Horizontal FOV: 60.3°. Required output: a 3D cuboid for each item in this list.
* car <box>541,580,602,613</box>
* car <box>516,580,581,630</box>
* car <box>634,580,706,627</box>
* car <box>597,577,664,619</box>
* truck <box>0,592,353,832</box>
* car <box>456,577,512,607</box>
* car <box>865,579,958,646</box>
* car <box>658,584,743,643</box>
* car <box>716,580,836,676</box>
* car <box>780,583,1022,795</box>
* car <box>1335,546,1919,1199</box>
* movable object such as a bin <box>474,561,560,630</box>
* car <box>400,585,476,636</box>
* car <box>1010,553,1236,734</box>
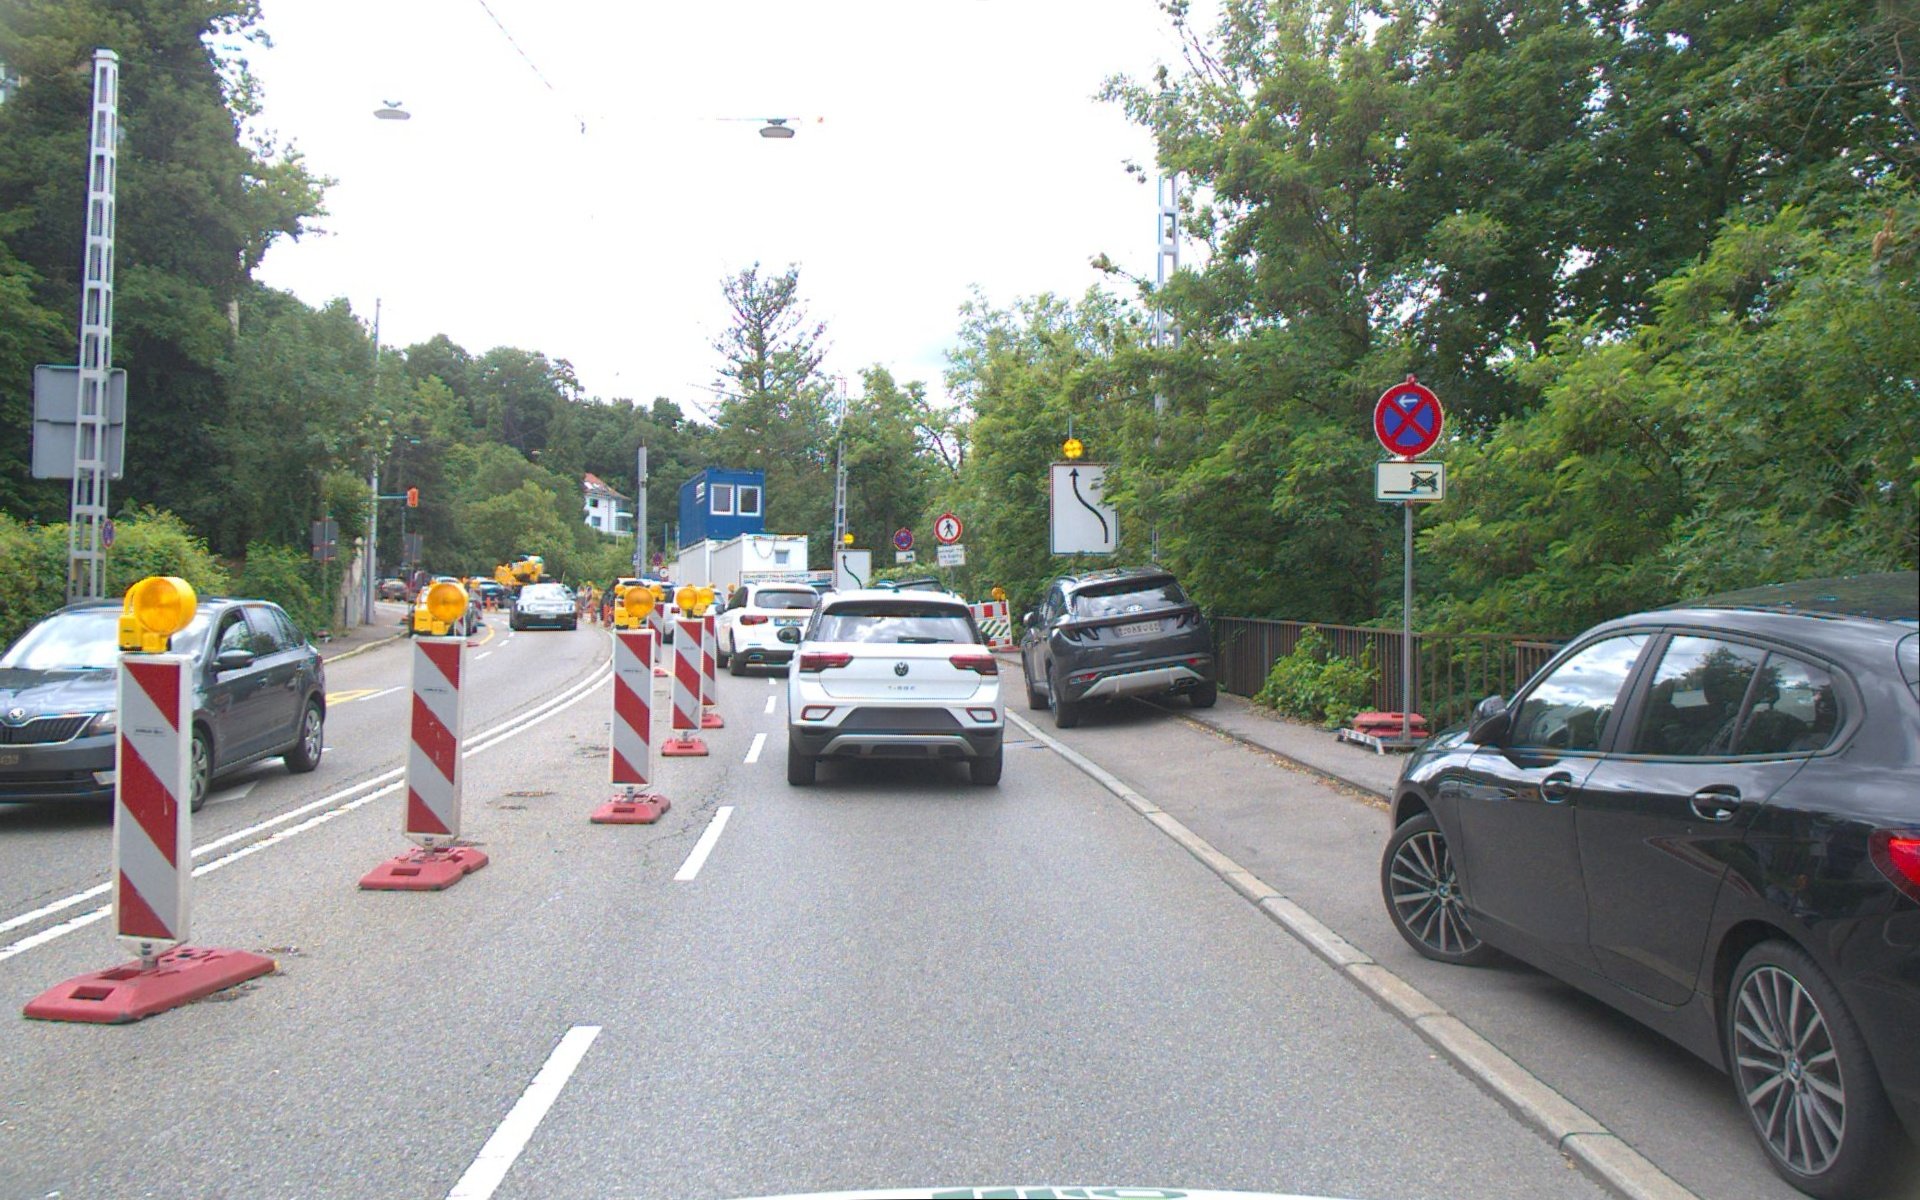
[{"bbox_3d":[-18.271,-0.134,77.638,1.968,1.475,4.117,-1,0,-25],"label":"car"},{"bbox_3d":[-13.237,0.140,53.021,1.865,1.520,3.982,-1,1,-16],"label":"car"},{"bbox_3d":[-9.630,0.134,54.786,1.961,1.439,4.133,-1,-1,-15],"label":"car"},{"bbox_3d":[-12.882,-0.106,64.511,1.964,1.583,4.127,-1,1,-20],"label":"car"},{"bbox_3d":[-6.015,0.697,12.364,1.629,1.468,4.024,-1,1,-3],"label":"truck"},{"bbox_3d":[-25.241,-0.422,87.617,1.972,1.475,4.109,-1,0,-29],"label":"car"},{"bbox_3d":[-1.263,0.293,41.784,1.685,1.544,3.649,-3,1,-12],"label":"car"},{"bbox_3d":[-6.964,0.339,44.176,1.730,1.497,3.777,0,0,-17],"label":"car"},{"bbox_3d":[-3.450,0.468,30.472,1.728,1.637,3.782,0,0,-14],"label":"car"},{"bbox_3d":[-0.640,0.654,14.339,1.725,1.583,3.789,0,0,-8],"label":"car"},{"bbox_3d":[2.807,0.635,5.542,1.773,1.488,4.190,-6,1,-4],"label":"car"},{"bbox_3d":[-25.284,-0.278,94.191,3.487,3.764,7.435,-1,1,-25],"label":"movable object such as a bin"},{"bbox_3d":[-15.255,0.277,48.521,1.864,1.406,3.985,-1,1,-14],"label":"car"},{"bbox_3d":[1.813,0.442,19.757,1.815,1.685,4.139,-8,1,-4],"label":"car"}]
